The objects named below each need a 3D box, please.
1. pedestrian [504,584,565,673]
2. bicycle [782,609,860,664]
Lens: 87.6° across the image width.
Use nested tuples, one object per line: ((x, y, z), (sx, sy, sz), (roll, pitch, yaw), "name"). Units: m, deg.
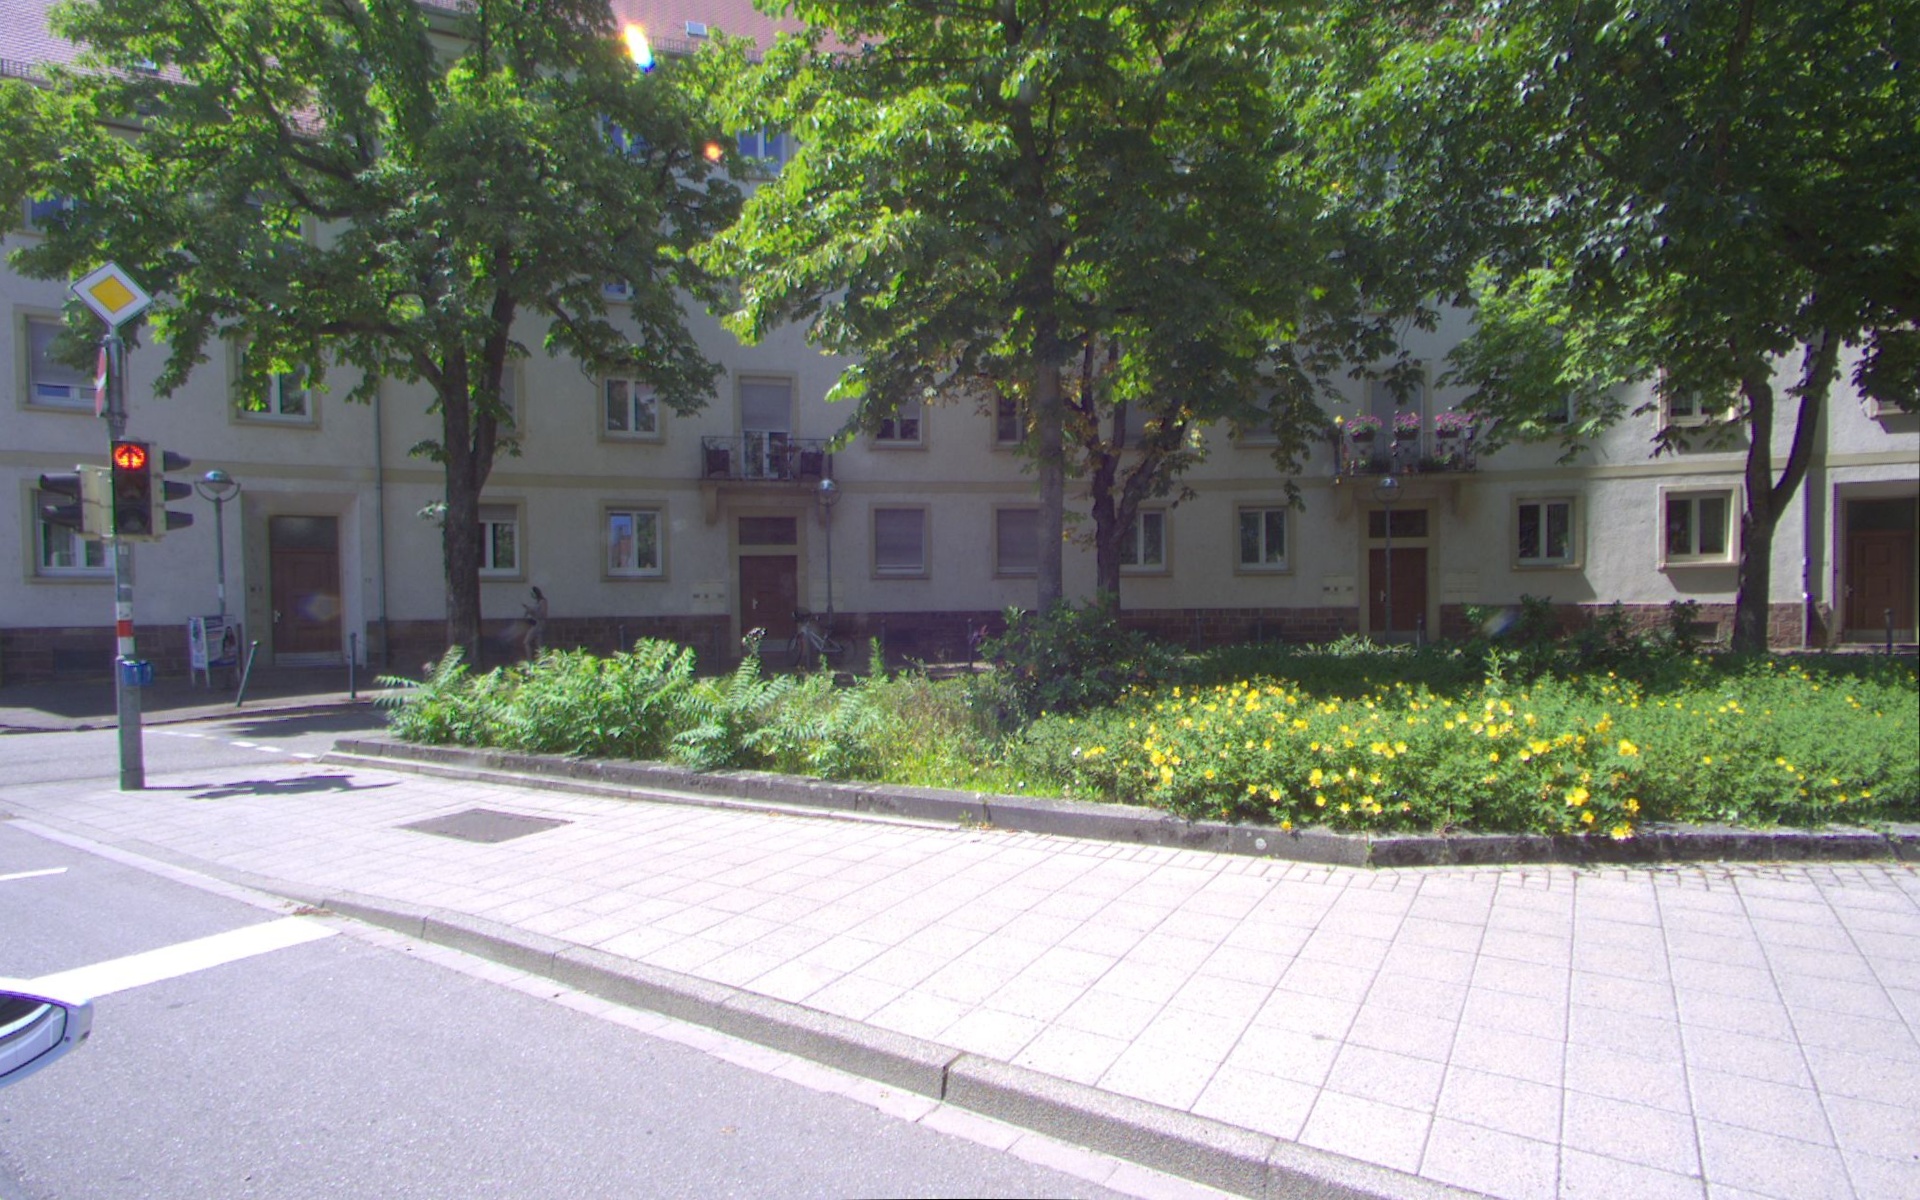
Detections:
((-8.774, 0.575, 20.673), (1.040, 1.715, 0.650), (-3, 7, -22), "pedestrian")
((-2.885, 0.754, 20.870), (1.575, 1.119, 0.525), (-1, 1, -4), "bicycle")
